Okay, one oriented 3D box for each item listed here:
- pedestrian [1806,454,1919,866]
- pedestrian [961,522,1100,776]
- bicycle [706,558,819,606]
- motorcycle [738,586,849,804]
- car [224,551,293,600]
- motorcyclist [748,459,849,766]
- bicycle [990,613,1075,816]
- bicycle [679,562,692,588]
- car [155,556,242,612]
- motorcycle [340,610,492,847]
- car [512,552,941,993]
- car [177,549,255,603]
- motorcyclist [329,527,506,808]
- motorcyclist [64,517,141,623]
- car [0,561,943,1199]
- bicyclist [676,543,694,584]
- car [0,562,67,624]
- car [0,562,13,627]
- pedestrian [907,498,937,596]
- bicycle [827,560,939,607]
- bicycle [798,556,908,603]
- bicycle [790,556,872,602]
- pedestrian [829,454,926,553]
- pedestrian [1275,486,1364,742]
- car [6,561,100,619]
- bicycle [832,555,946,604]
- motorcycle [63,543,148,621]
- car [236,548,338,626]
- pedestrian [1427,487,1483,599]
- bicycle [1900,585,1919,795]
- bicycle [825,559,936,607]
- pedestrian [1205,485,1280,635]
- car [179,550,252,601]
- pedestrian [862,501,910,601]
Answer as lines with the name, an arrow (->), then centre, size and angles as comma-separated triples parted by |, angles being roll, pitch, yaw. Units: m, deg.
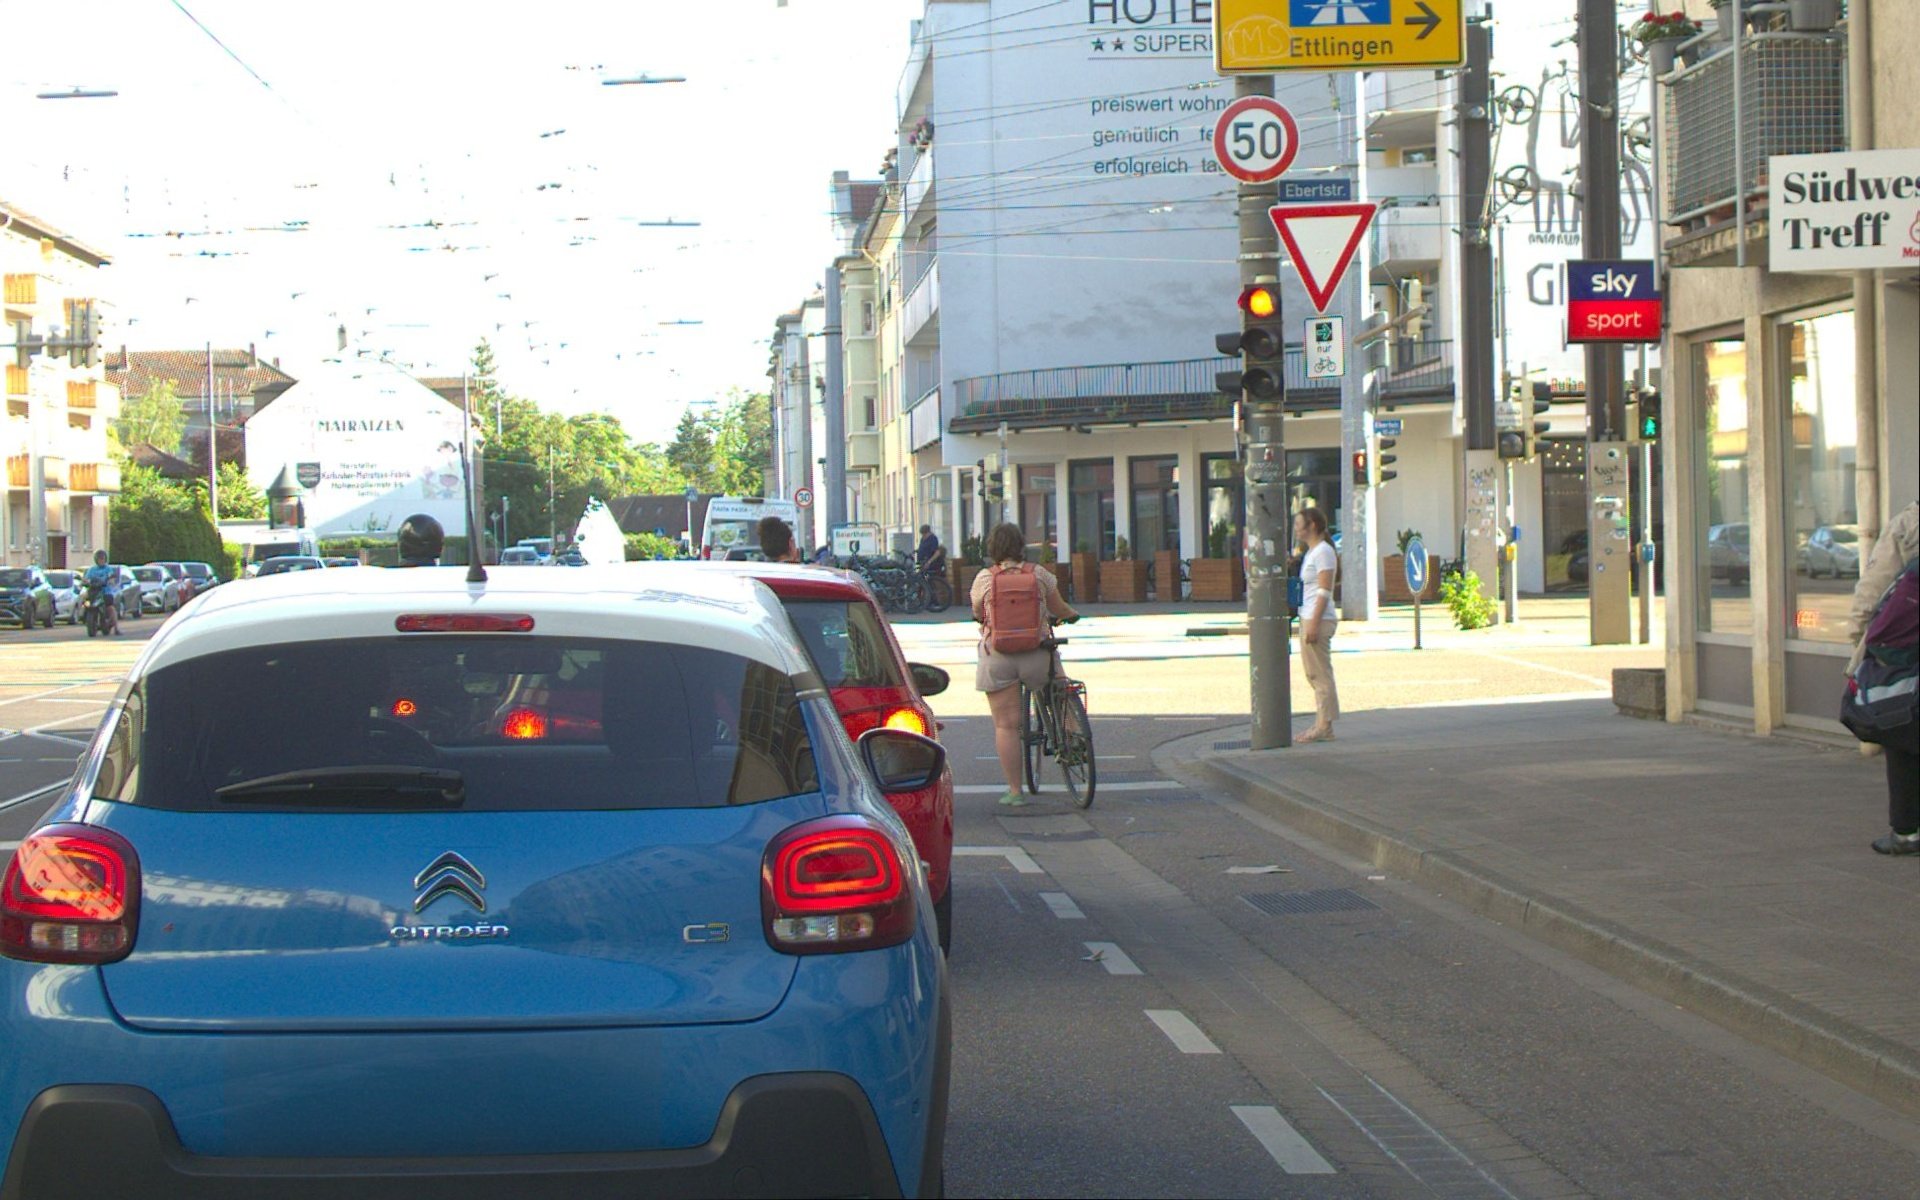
pedestrian -> 3.881, 0.233, 13.654 | 0.825, 1.587, 0.751 | 1, 0, -1
pedestrian -> 0.406, 0.279, 20.209 | 0.777, 1.455, 0.682 | 1, 0, -1
bicycle -> -3.801, -0.345, 66.154 | 2.132, 0.898, 0.367 | 1, 0, -9
motorcycle -> -0.923, 0.502, 19.420 | 0.526, 1.136, 2.290 | 1, 1, -1
car -> -24.740, -0.885, 121.285 | 1.846, 1.681, 3.875 | 1, 1, -4
motorcyclist -> -0.916, 0.067, 19.603 | 0.526, 1.710, 0.717 | 1, 0, -1
bicycle -> 0.418, 0.651, 20.504 | 0.427, 1.119, 1.998 | 1, 1, -1
bicycle -> -9.847, -0.899, 123.366 | 0.349, 0.900, 1.859 | 1, 1, -2
car -> -23.510, -0.511, 106.228 | 1.983, 1.681, 4.001 | 1, 1, -3
motorcycle -> -3.000, 0.678, 19.086 | 0.537, 1.215, 1.981 | 1, 1, -1
car -> -0.807, 0.573, 13.122 | 1.424, 1.462, 2.924 | -1, 0, -1
car -> -24.046, -0.775, 111.212 | 1.882, 1.681, 4.001 | 1, 1, -4
motorcyclist -> -2.955, 0.361, 18.778 | 0.860, 1.500, 0.598 | 1, 0, -1
motorcyclist -> -16.728, -0.591, 67.063 | 1.185, 2.007, 1.276 | -1, 1, -3
car -> -0.884, 0.650, 7.177 | 1.654, 1.439, 3.523 | 1, 1, -1
bicyclist -> -9.835, -1.307, 122.979 | 0.561, 1.472, 0.748 | 1, 0, 0
car -> -23.655, -0.196, 86.038 | 1.785, 1.493, 4.001 | 1, 1, -4
car -> -23.232, -0.130, 79.144 | 1.787, 1.506, 4.150 | 1, 1, -2
pedestrian -> -0.781, -1.084, 70.382 | 0.577, 2.007, 0.626 | 1, 0, -3
bicycle -> -1.498, -0.321, 66.940 | 2.132, 0.898, 0.367 | 1, 0, -9
bicycle -> -2.128, -0.404, 68.294 | 2.132, 0.898, 0.367 | 1, 0, -9
bicycle -> -2.606, -0.433, 69.293 | 1.785, 0.898, 0.366 | 1, 1, 34
pedestrian -> -1.747, -2.031, 73.514 | 1.993, 2.007, 4.000 | 1, 1, -1
pedestrian -> 2.526, 0.096, 24.220 | 0.517, 1.777, 0.595 | 1, 0, -2
car -> -24.262, -0.274, 92.084 | 1.732, 1.493, 4.001 | 1, 1, -5
bicycle -> -1.365, -0.394, 65.908 | 2.132, 0.898, 0.367 | 1, 0, -9
motorcycle -> -16.683, -0.364, 67.192 | 0.923, 1.481, 3.726 | 1, 1, -3
car -> -14.933, -0.303, 76.441 | 1.774, 1.660, 3.857 | 1, 1, -4
pedestrian -> 8.966, -1.035, 62.227 | 0.758, 2.007, 0.710 | 1, 0, 31
bicycle -> 4.845, 0.436, 15.814 | 0.542, 0.995, 1.706 | 1, 1, -1
bicycle -> -1.559, -0.330, 67.341 | 2.132, 0.898, 0.367 | 1, 0, -9
pedestrian -> 3.848, -0.543, 46.865 | 0.926, 2.007, 0.759 | 1, 0, -1
car -> -25.211, -0.844, 116.506 | 1.833, 1.681, 4.001 | 1, 1, -4
pedestrian -> -1.489, -0.987, 69.198 | 0.630, 2.007, 0.724 | 1, 0, -36
